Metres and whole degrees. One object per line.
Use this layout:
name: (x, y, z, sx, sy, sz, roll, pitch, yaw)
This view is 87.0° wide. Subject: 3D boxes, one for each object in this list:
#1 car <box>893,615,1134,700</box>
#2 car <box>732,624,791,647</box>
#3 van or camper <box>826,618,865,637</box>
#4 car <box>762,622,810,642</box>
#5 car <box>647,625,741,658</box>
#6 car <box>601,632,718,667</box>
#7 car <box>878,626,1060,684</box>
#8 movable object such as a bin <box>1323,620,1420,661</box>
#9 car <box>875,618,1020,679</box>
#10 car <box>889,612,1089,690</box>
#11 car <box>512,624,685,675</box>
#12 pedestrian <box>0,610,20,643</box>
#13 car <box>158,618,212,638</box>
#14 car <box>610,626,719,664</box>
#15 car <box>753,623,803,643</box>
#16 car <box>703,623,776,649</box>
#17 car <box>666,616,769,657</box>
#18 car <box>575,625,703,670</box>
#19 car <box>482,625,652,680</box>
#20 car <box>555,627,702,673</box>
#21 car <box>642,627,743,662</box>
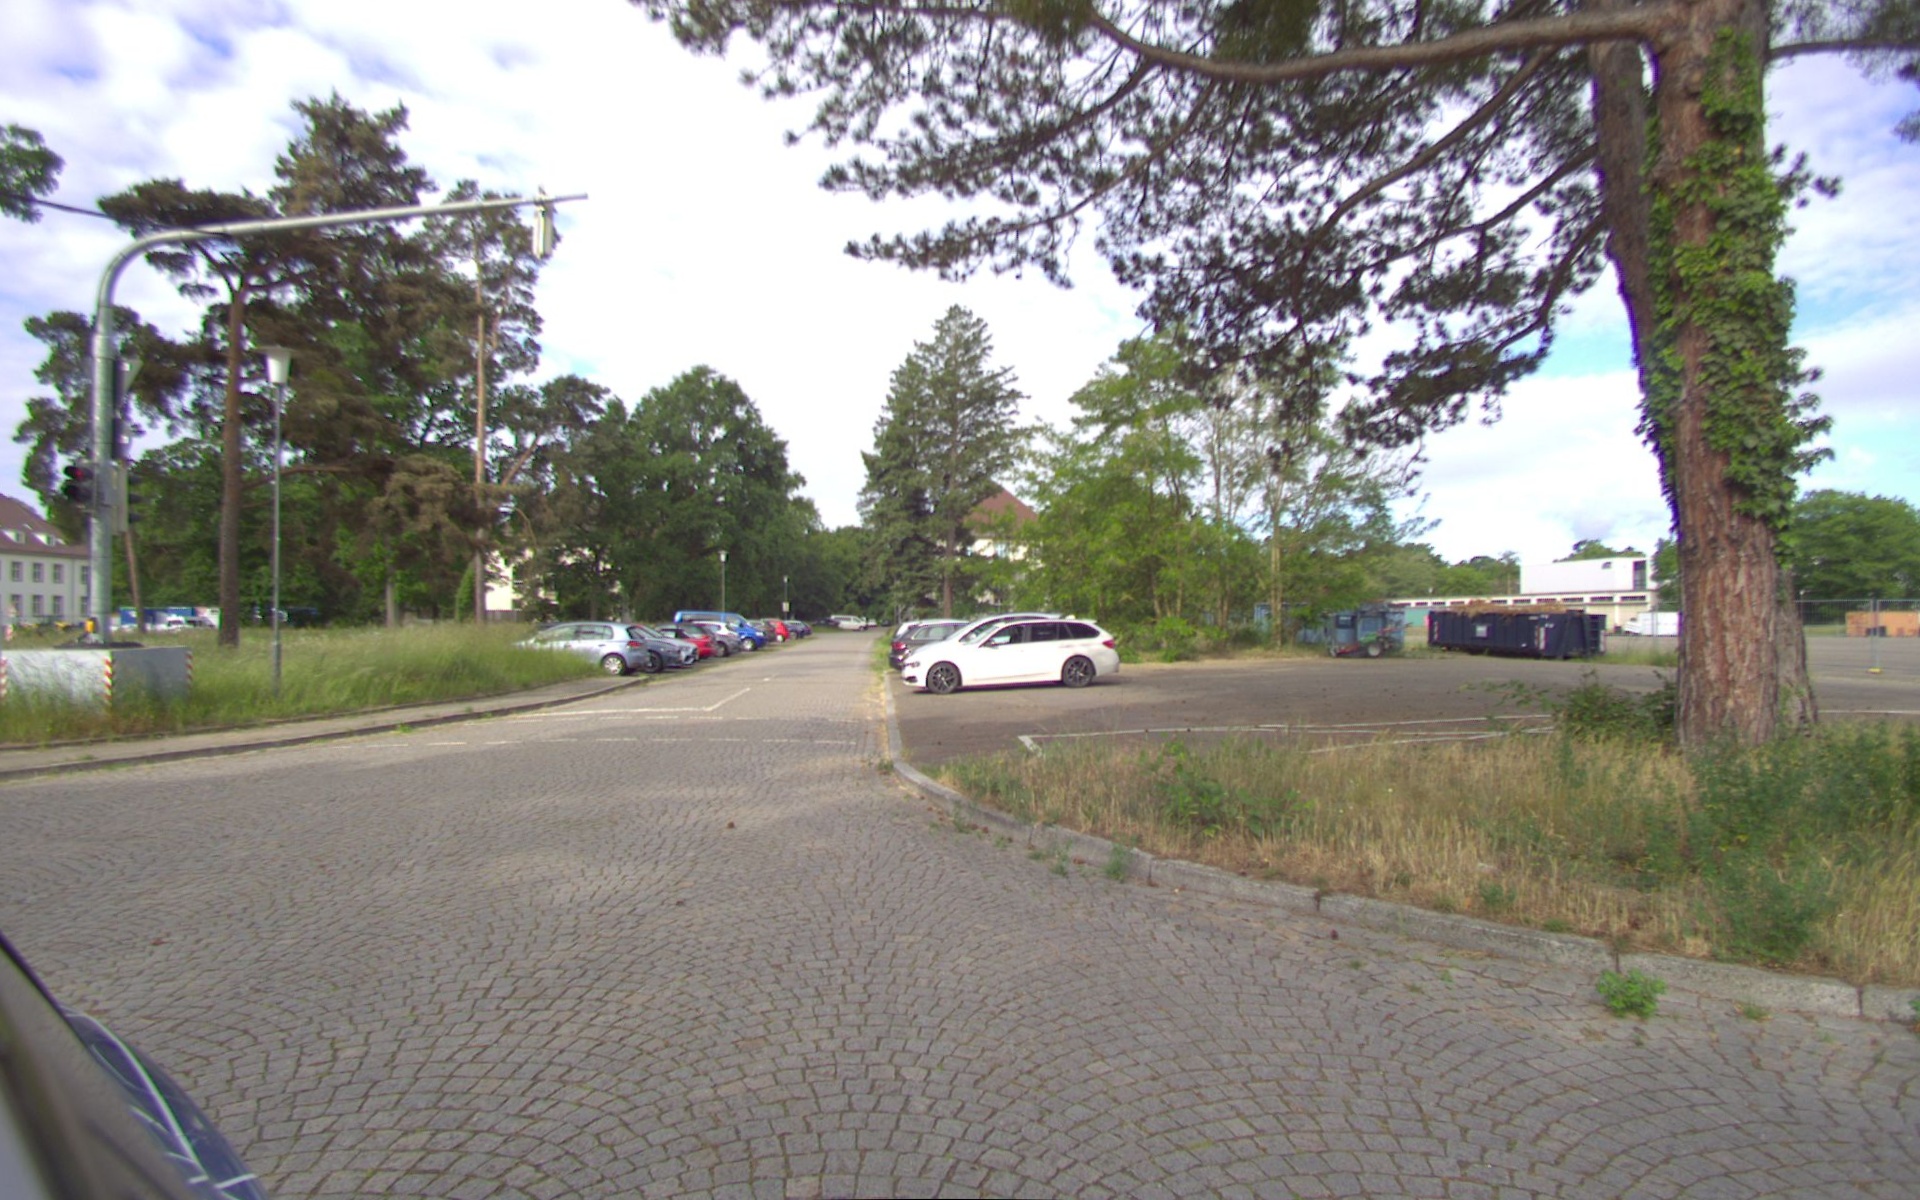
car: (1.037, 1.165, 21.298, 4.747, 1.450, 1.916, -3, -1, -6)
car: (-13.769, 2.437, 70.446, 3.937, 1.581, 2.003, 0, -1, -7)
van or camper: (-15.215, 3.677, 134.339, 5.170, 2.482, 2.212, 0, -1, -6)
car: (-14.649, 2.675, 85.222, 3.739, 1.637, 2.001, 0, -1, -2)
car: (-12.045, 1.877, 46.016, 3.877, 1.460, 1.798, 0, -1, -3)
car: (-11.153, 1.816, 37.706, 3.878, 1.244, 1.798, 0, -1, -2)
car: (0.183, 1.415, 26.556, 4.563, 1.433, 1.887, 0, -1, -6)
movable object such as a bin: (12.630, 1.224, 31.124, 2.501, 1.221, 1.171, 0, -1, -4)
car: (-0.399, 1.377, 29.188, 3.924, 1.467, 1.683, -3, -1, -8)
car: (0.629, 1.166, 23.881, 4.417, 1.602, 1.850, -2, -1, -8)
car: (-10.699, 1.452, 30.197, 4.564, 1.456, 1.798, 0, -1, -3)
pedestrian: (-63.195, 1.754, 66.831, 1.167, 2.194, 1.057, 0, -1, -4)
car: (-79.483, 2.888, 103.907, 2.134, 2.029, 4.841, 0, -1, -6)
car: (-11.713, 1.767, 40.286, 3.878, 1.487, 1.798, 0, -1, -2)
car: (-14.503, 2.587, 80.740, 3.739, 1.581, 2.001, 0, -1, -2)
car: (-13.062, 2.148, 60.170, 3.942, 1.516, 1.870, 0, -1, -1)
car: (-12.230, 1.833, 51.269, 4.777, 2.029, 1.999, 0, -1, 1)
car: (-11.116, 1.630, 35.223, 3.879, 1.524, 1.797, 0, -1, -1)
car: (-10.600, 1.403, 27.488, 3.941, 1.429, 1.798, 0, -1, -2)
car: (-10.723, 1.598, 32.921, 4.209, 1.456, 1.797, 0, -1, -1)
car: (-11.317, 1.892, 43.012, 3.877, 1.446, 1.798, 0, -1, -3)
